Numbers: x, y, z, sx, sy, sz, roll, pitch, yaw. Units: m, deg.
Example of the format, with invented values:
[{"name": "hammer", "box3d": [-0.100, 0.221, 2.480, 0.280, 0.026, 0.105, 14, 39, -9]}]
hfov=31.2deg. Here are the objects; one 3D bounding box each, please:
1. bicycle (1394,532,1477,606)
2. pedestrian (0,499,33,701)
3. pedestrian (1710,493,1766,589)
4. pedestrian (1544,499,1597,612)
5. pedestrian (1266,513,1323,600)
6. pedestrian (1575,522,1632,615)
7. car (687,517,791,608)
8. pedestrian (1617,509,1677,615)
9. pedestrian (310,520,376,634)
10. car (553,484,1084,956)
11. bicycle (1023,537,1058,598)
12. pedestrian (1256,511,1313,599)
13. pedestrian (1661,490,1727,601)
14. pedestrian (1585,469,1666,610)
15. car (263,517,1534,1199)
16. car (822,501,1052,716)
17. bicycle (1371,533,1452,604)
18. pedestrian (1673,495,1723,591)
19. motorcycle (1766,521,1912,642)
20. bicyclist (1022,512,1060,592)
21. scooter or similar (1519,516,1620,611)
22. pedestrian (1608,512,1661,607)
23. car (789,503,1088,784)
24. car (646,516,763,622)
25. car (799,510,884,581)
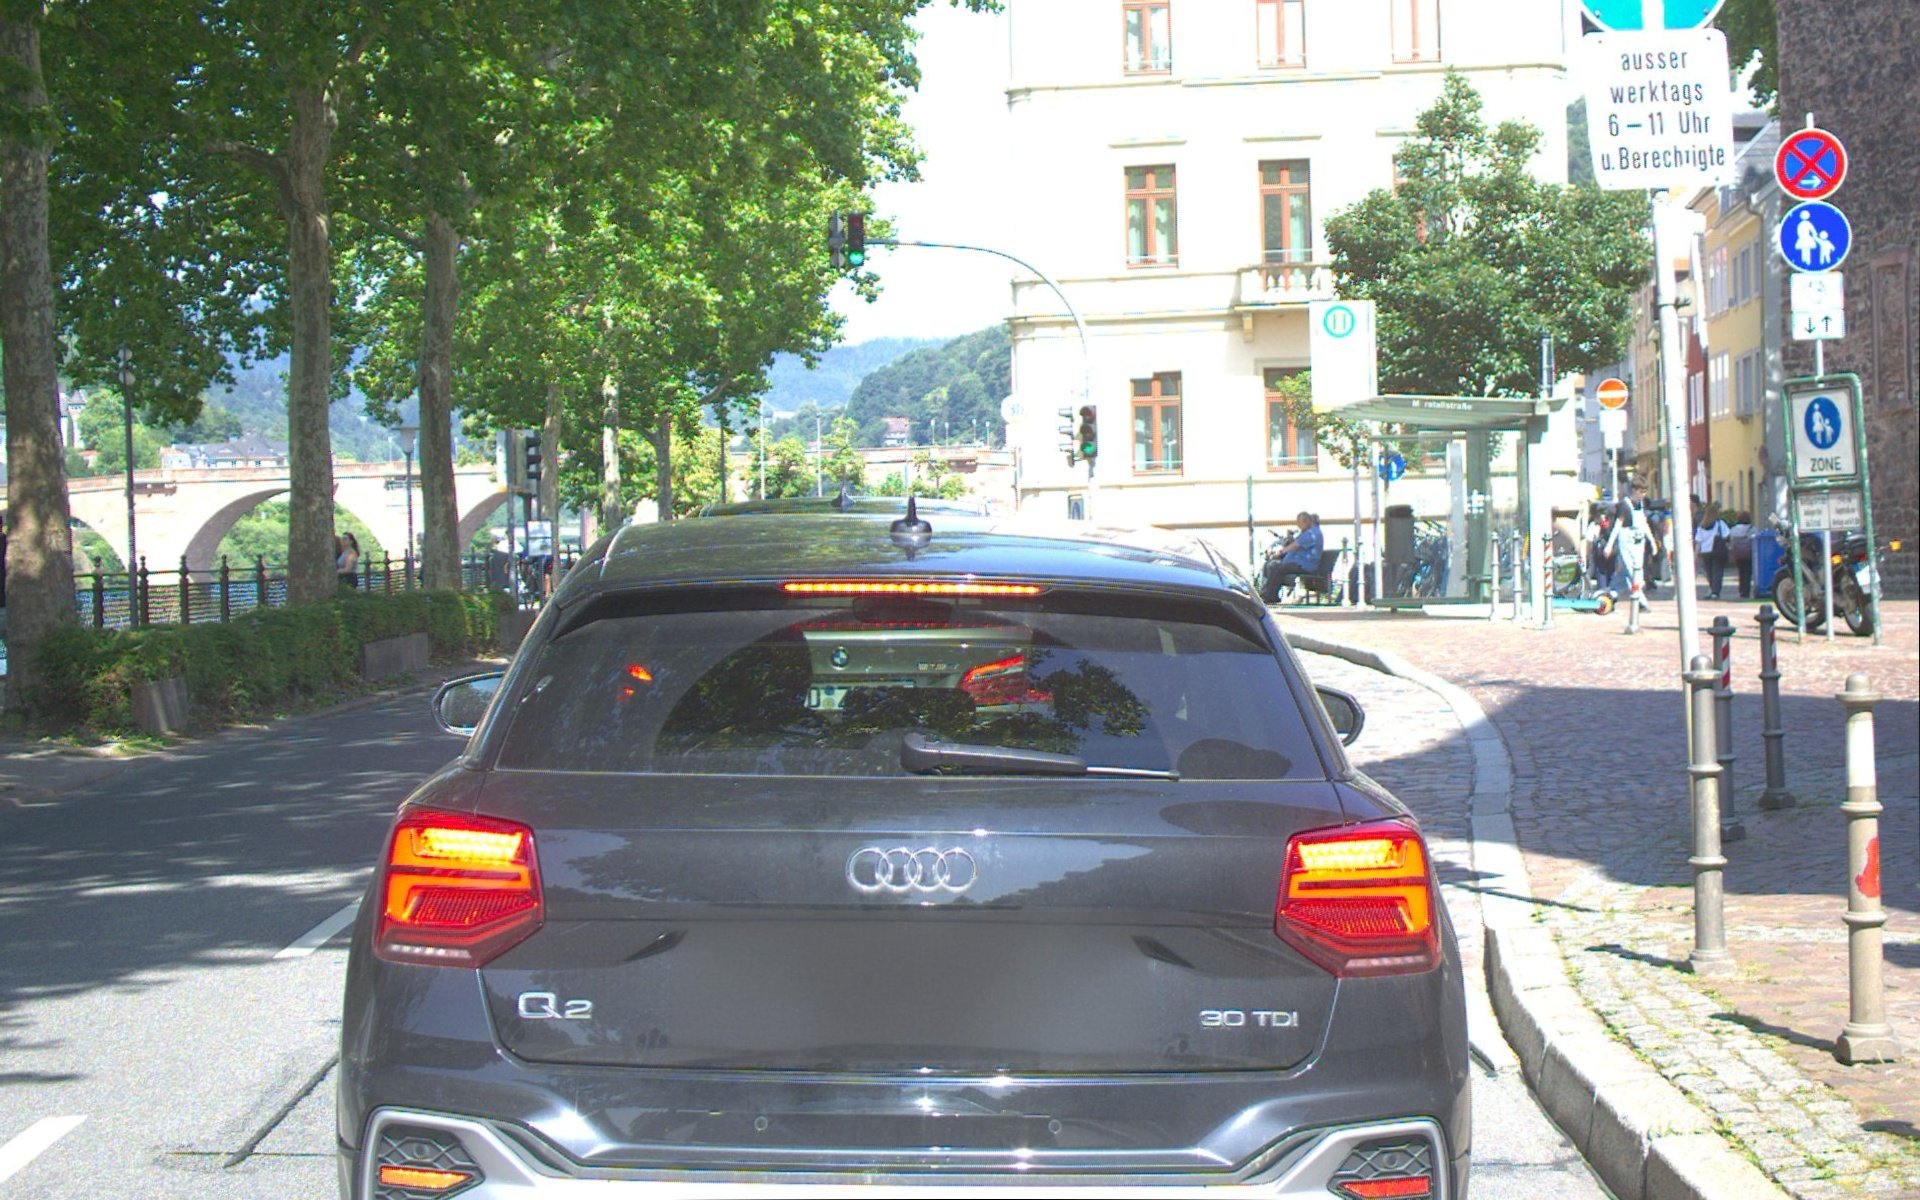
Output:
[{"name": "bicycle", "box3d": [6.771, -0.441, 48.984, 1.201, 1.031, 0.179, 1, 0, -19]}, {"name": "pedestrian", "box3d": [-9.074, -0.008, 32.406, 0.534, 1.880, 0.436, 1, 1, -1]}, {"name": "pedestrian", "box3d": [13.263, -1.006, 58.641, 0.691, 1.607, 0.891, -2, 1, -1]}, {"name": "pedestrian", "box3d": [7.568, -0.554, 42.637, 0.557, 1.380, 0.588, 1, 0, 2]}, {"name": "pedestrian", "box3d": [4.683, -0.606, 48.112, 0.663, 1.207, 0.641, 1, 0, -6]}, {"name": "pedestrian", "box3d": [10.227, -0.506, 54.641, 0.638, 1.439, 0.799, -2, 1, -7]}, {"name": "car", "box3d": [-4.455, -0.777, 69.731, 1.769, 1.654, 4.000, -5, 1, 0]}, {"name": "pedestrian", "box3d": [13.082, -0.721, 65.489, 0.940, 2.007, 0.807, 1, 0, -3]}, {"name": "pedestrian", "box3d": [-9.918, -0.369, 55.270, 0.911, 1.805, 0.585, 1, -1, 4]}, {"name": "car", "box3d": [-0.504, 0.375, 13.457, 1.793, 1.589, 3.399, 1, 1, -1]}, {"name": "bicycle", "box3d": [1.455, -0.587, 62.436, 0.437, 1.082, 1.677, 1, 0, -5]}, {"name": "pedestrian", "box3d": [4.614, -0.639, 48.892, 0.663, 1.227, 0.641, 1, 0, -6]}, {"name": "pedestrian", "box3d": [12.713, -0.944, 59.552, 0.749, 1.884, 0.750, -3, 1, -25]}, {"name": "pedestrian", "box3d": [7.955, -0.728, 41.086, 0.808, 1.656, 0.655, -1, 1, 22]}, {"name": "car", "box3d": [-0.111, 0.610, 6.580, 1.743, 1.504, 3.647, 1, 1, -1]}, {"name": "car", "box3d": [-0.201, 0.024, 29.094, 1.794, 1.676, 4.000, 1, 1, -1]}, {"name": "bicycle", "box3d": [6.513, -0.450, 49.611, 1.184, 1.012, 0.179, 1, 0, -19]}, {"name": "pedestrian", "box3d": [12.635, -0.975, 58.882, 0.607, 1.613, 0.710, -3, 0, -1]}, {"name": "motorcycle", "box3d": [7.678, -0.182, 30.127, 0.566, 1.009, 2.490, -1, 1, -2]}, {"name": "bicyclist", "box3d": [1.474, -0.877, 62.489, 0.605, 1.445, 0.591, 1, 0, -5]}, {"name": "scooter or similar", "box3d": [6.986, -0.418, 39.418, 1.088, 1.062, 0.323, 1, 0, -2]}, {"name": "pedestrian", "box3d": [14.513, -0.874, 74.006, 0.944, 2.007, 0.807, 1, 0, 0]}, {"name": "car", "box3d": [-0.142, 0.210, 21.564, 1.710, 1.603, 3.655, 0, 1, -1]}, {"name": "car", "box3d": [-4.351, -0.559, 59.016, 1.673, 1.654, 4.223, -4, 1, -1]}, {"name": "car", "box3d": [-3.094, -1.417, 90.488, 1.993, 1.800, 4.000, 1, 0, 1]}]
